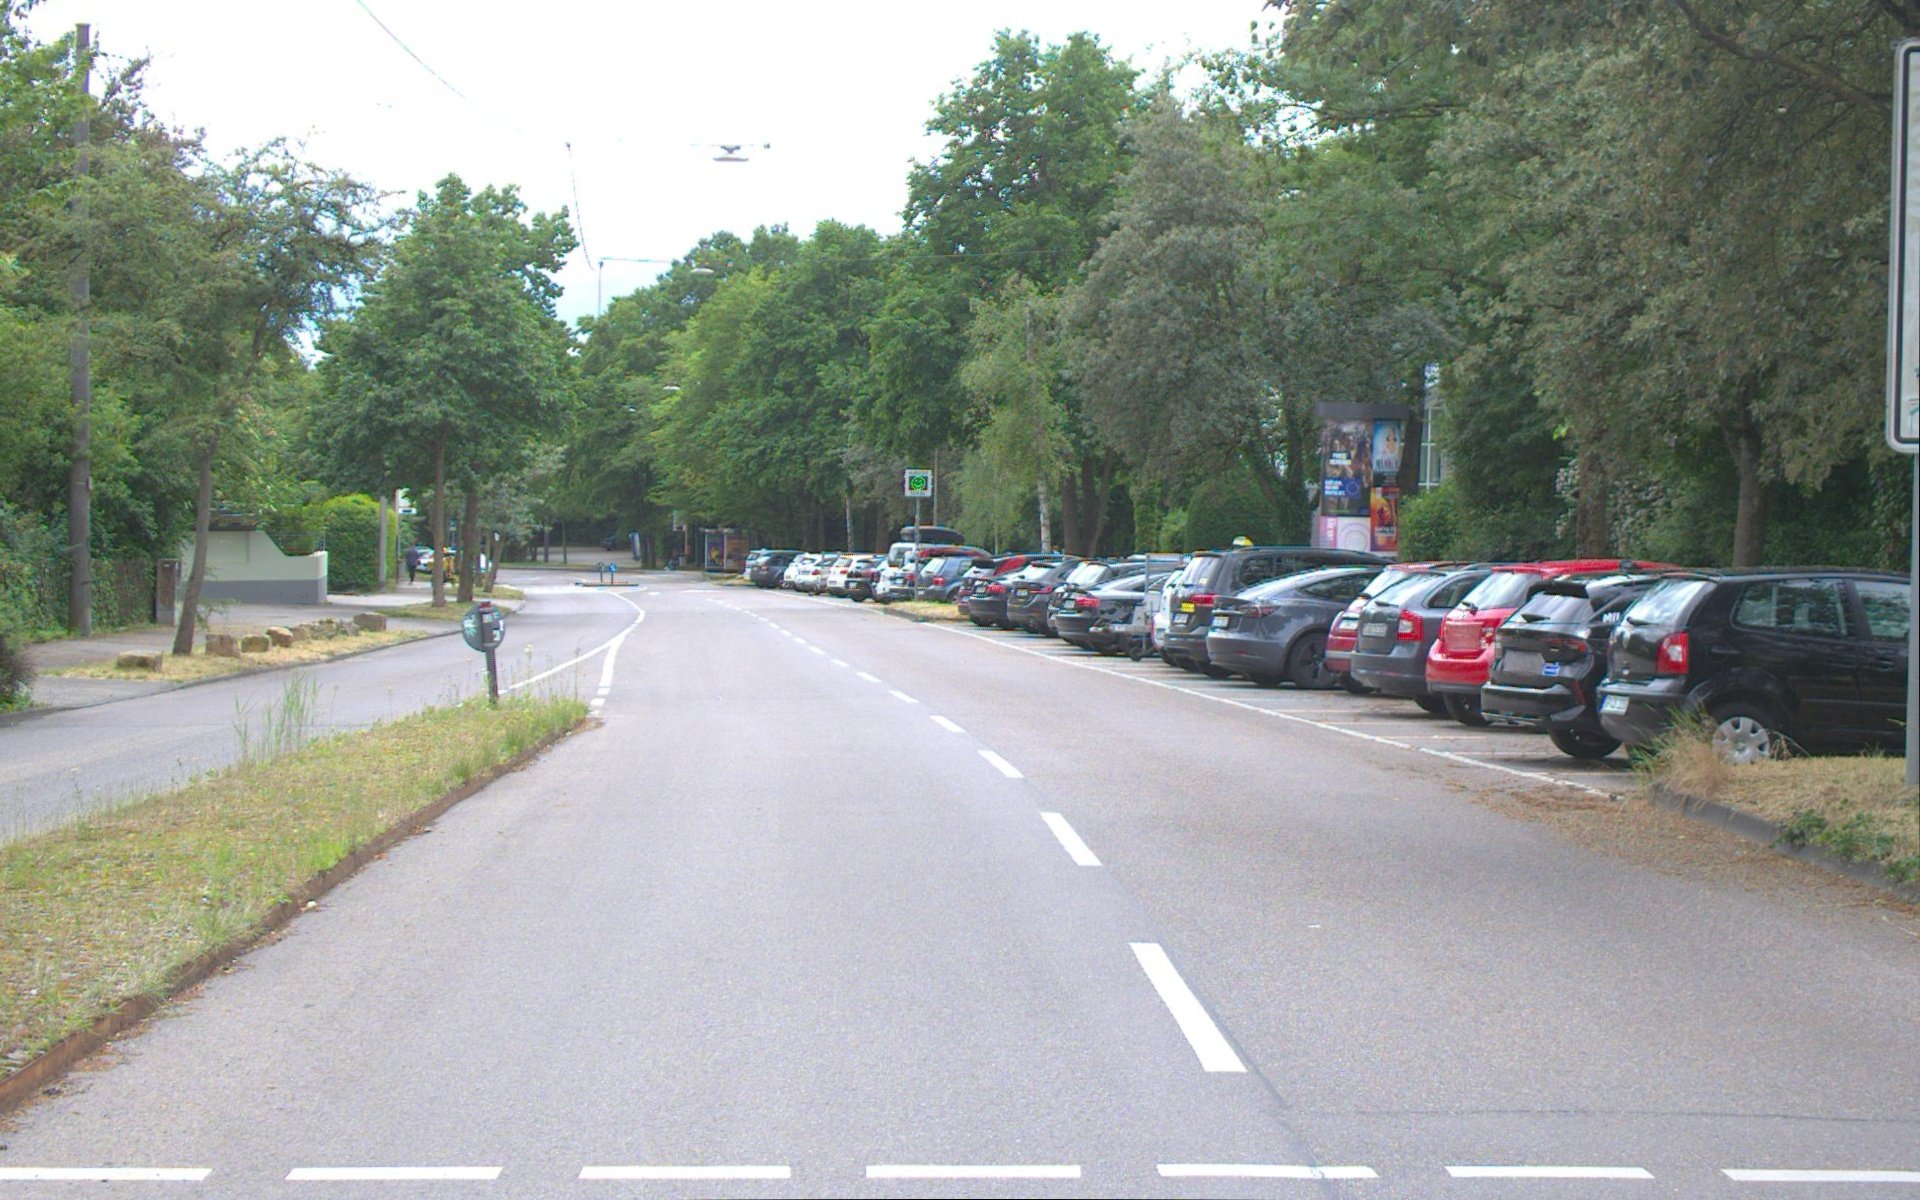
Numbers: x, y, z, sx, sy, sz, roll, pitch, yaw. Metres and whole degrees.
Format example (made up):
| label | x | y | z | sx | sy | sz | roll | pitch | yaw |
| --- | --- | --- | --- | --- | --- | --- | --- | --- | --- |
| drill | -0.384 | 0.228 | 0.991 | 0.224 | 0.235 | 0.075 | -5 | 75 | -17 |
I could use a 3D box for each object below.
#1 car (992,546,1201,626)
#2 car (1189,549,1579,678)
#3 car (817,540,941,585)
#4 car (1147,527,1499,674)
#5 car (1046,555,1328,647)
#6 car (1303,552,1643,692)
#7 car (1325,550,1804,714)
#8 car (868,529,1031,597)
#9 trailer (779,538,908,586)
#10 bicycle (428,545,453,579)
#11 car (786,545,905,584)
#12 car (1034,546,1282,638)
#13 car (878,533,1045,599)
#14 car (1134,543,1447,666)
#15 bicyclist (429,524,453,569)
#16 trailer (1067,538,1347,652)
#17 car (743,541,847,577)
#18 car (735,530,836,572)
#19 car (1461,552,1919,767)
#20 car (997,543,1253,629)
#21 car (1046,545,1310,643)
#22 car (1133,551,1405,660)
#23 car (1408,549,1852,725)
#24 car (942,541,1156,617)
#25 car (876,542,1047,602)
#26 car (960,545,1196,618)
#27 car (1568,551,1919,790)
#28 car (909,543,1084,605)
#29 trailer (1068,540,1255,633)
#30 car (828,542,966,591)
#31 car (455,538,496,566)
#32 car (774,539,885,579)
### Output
| label | x | y | z | sx | sy | sz | roll | pitch | yaw |
| --- | --- | --- | --- | --- | --- | --- | --- | --- | --- |
| car | 2.613 | -0.268 | 65.832 | 3.609 | 1.440 | 1.634 | 1 | 1 | -20 |
| car | 4.940 | 0.152 | 40.186 | 4.158 | 1.402 | 1.698 | 1 | 0 | -15 |
| car | -2.812 | -1.303 | 119.154 | 3.884 | 1.444 | 1.744 | 1 | 1 | -26 |
| car | 4.505 | 0.006 | 42.844 | 3.984 | 1.719 | 1.681 | 1 | 0 | -14 |
| car | 3.489 | 0.016 | 52.970 | 4.035 | 1.323 | 1.560 | 1 | 0 | -13 |
| car | 5.677 | 0.237 | 38.190 | 3.325 | 1.459 | 1.635 | 1 | 1 | -14 |
| car | 5.815 | 0.300 | 33.191 | 4.218 | 1.459 | 1.635 | 1 | 1 | -13 |
| car | -0.289 | -1.011 | 94.494 | 4.086 | 1.748 | 1.787 | 1 | 1 | -31 |
| trailer | -4.104 | -1.352 | 121.230 | 4.153 | 1.568 | 1.712 | 1 | 0 | -24 |
| bicycle | -20.053 | -1.481 | 132.756 | 0.844 | 1.262 | 2.653 | 1 | 2 | -7 |
| car | -4.121 | -1.283 | 123.912 | 3.884 | 1.305 | 1.744 | 1 | 1 | -29 |
| car | 3.353 | -0.135 | 58.326 | 3.839 | 1.450 | 1.634 | 1 | 1 | -16 |
| car | 0.042 | -0.917 | 91.663 | 3.995 | 1.614 | 1.885 | 1 | 1 | -21 |
| car | 4.367 | 0.054 | 45.632 | 3.819 | 1.524 | 1.606 | 1 | 0 | -9 |
| bicyclist | -20.031 | -2.068 | 132.705 | 0.844 | 1.691 | 0.714 | 1 | 2 | -7 |
| trailer | 3.604 | -0.072 | 50.333 | 3.687 | 1.530 | 1.646 | 2 | 1 | -16 |
| car | -6.811 | -1.701 | 142.128 | 3.883 | 1.424 | 1.744 | 1 | 1 | -24 |
| car | -7.355 | -2.056 | 144.877 | 3.883 | 1.662 | 1.744 | 1 | 1 | -24 |
| car | 5.945 | 0.435 | 25.342 | 4.134 | 1.471 | 1.577 | 1 | 1 | -15 |
| car | 3.016 | -0.251 | 62.965 | 4.343 | 1.440 | 1.635 | 1 | 1 | -19 |
| car | 3.534 | -0.097 | 55.761 | 3.910 | 1.481 | 1.618 | 1 | 1 | -20 |
| car | 4.316 | 0.068 | 48.096 | 3.423 | 1.440 | 1.560 | 1 | 0 | -17 |
| car | 5.971 | 0.327 | 30.734 | 3.522 | 1.471 | 1.593 | 1 | 1 | -17 |
| car | 1.855 | -0.436 | 71.202 | 4.071 | 1.510 | 1.734 | 0 | 1 | -27 |
| car | 0.041 | -0.717 | 88.743 | 4.026 | 1.400 | 1.757 | 1 | 1 | -23 |
| car | 2.337 | -0.366 | 68.208 | 4.311 | 1.336 | 1.734 | 1 | 1 | -18 |
| car | 6.125 | 0.467 | 22.991 | 3.715 | 1.471 | 1.577 | 1 | 2 | -7 |
| car | 0.911 | -0.644 | 86.120 | 3.963 | 1.400 | 1.757 | 2 | 1 | -19 |
| trailer | 3.563 | -0.239 | 60.866 | 2.985 | 1.537 | 1.304 | 1 | 2 | -17 |
| car | -1.974 | -1.058 | 107.968 | 3.884 | 1.444 | 1.844 | 1 | 1 | -28 |
| car | -25.767 | -2.579 | 182.688 | 1.866 | 1.466 | 4.001 | 0 | 1 | -12 |
| car | -5.031 | -1.570 | 132.241 | 3.883 | 1.424 | 1.744 | 1 | 1 | -24 |
